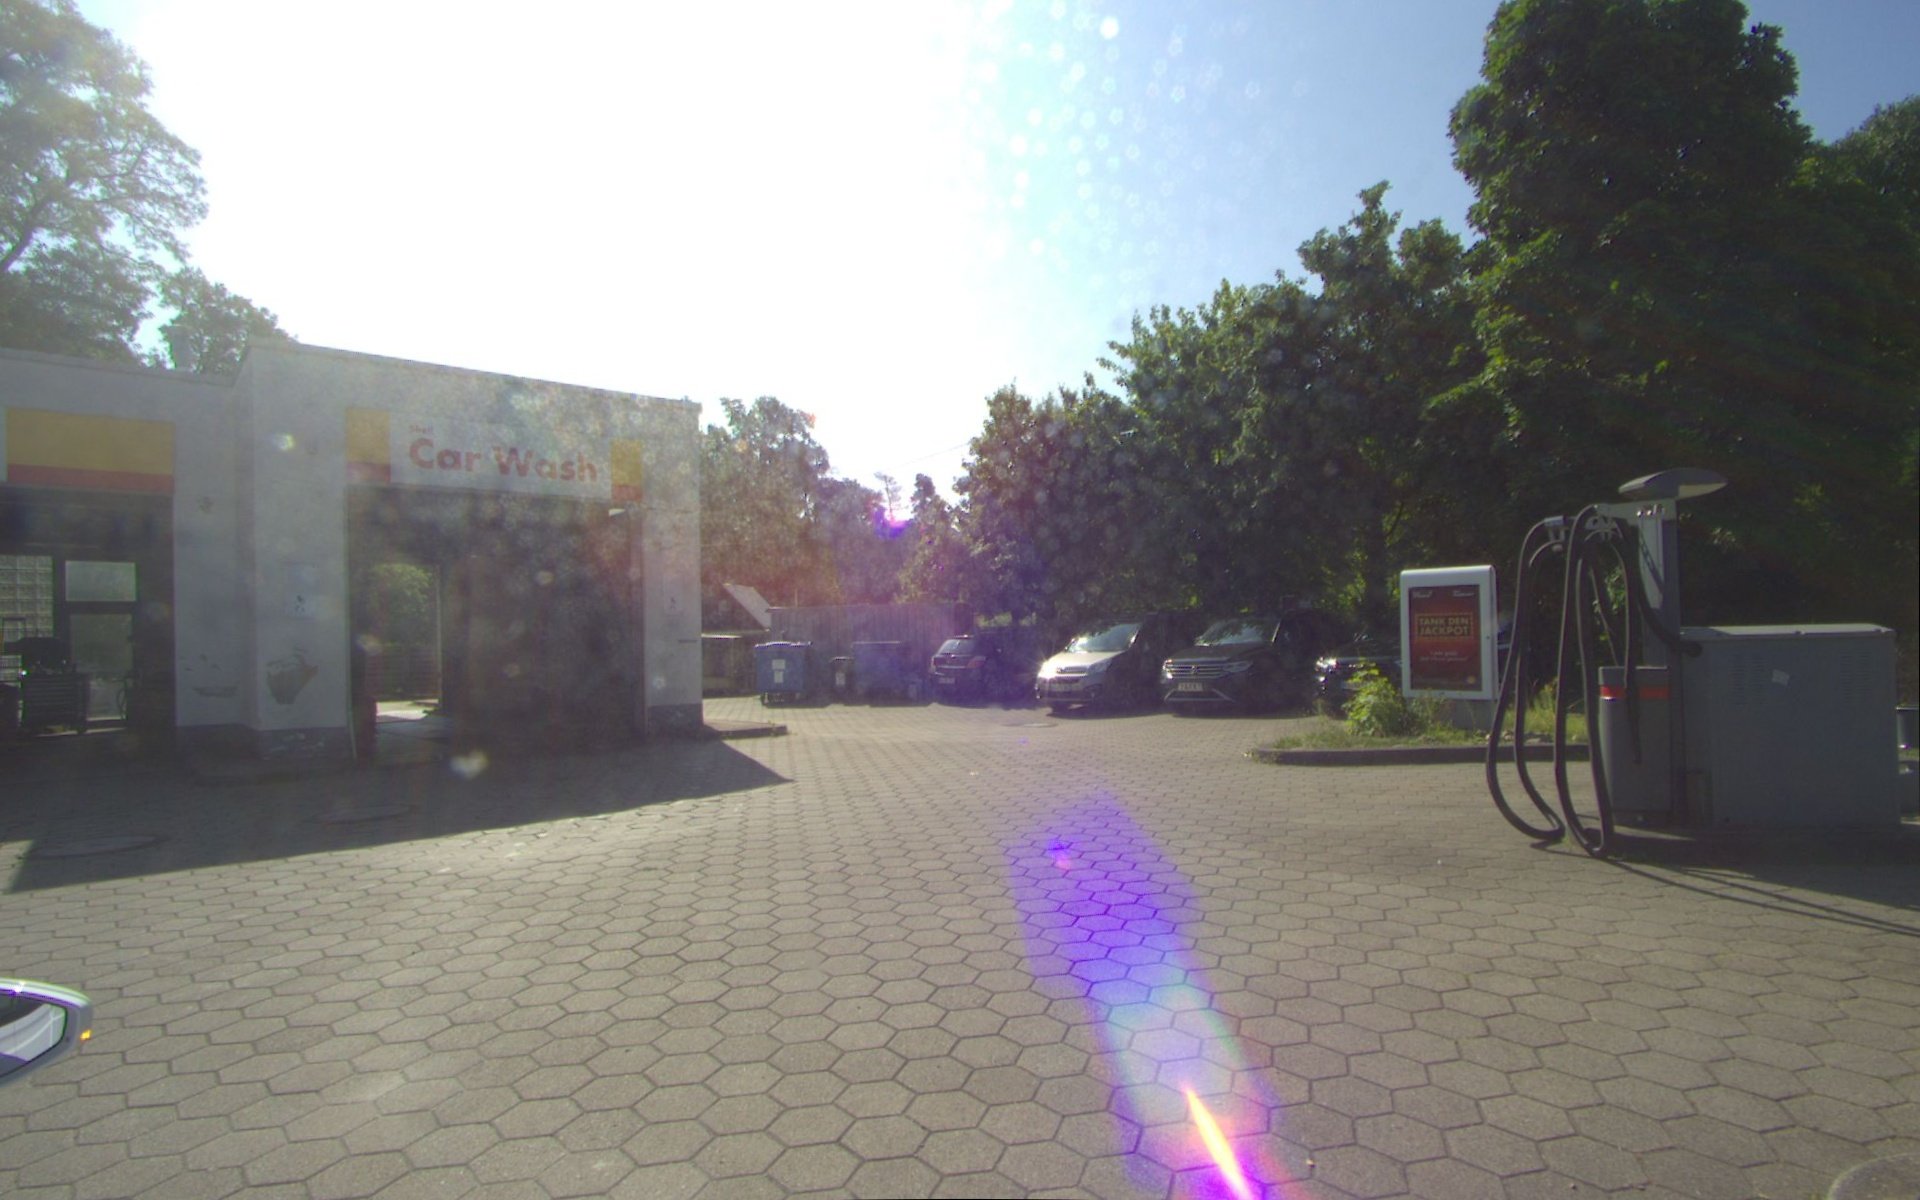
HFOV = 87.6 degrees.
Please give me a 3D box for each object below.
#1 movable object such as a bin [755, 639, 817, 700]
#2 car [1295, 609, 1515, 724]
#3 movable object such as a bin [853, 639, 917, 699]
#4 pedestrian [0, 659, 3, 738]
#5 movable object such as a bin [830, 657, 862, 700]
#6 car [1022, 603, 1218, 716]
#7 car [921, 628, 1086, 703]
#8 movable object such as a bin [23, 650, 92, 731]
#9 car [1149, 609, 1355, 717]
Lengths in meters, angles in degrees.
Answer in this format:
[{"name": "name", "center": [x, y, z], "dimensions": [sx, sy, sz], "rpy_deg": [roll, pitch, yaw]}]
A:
[{"name": "movable object such as a bin", "center": [-3.930, 1.559, 22.698], "dimensions": [1.211, 1.342, 0.850], "rpy_deg": [-1, -1, 2]}, {"name": "car", "center": [6.843, 0.935, 15.208], "dimensions": [3.901, 1.530, 1.668], "rpy_deg": [1, -3, -44]}, {"name": "movable object such as a bin", "center": [-1.679, 1.546, 22.514], "dimensions": [1.212, 1.306, 0.866], "rpy_deg": [-2, -2, 11]}, {"name": "pedestrian", "center": [-15.257, 1.533, 15.322], "dimensions": [0.857, 1.212, 0.737], "rpy_deg": [0, -3, -42]}, {"name": "movable object such as a bin", "center": [-2.575, 1.776, 22.675], "dimensions": [0.484, 0.921, 0.866], "rpy_deg": [-2, -2, 10]}, {"name": "car", "center": [3.176, 1.078, 19.383], "dimensions": [3.899, 1.816, 1.668], "rpy_deg": [-3, 0, -44]}, {"name": "car", "center": [1.005, 1.389, 22.211], "dimensions": [3.471, 1.457, 1.670], "rpy_deg": [0, -1, -40]}, {"name": "movable object such as a bin", "center": [-14.675, 1.471, 16.301], "dimensions": [0.790, 1.251, 0.540], "rpy_deg": [-1, -3, -39]}, {"name": "car", "center": [5.137, 1.034, 17.365], "dimensions": [3.901, 1.649, 1.669], "rpy_deg": [1, -3, -44]}]
